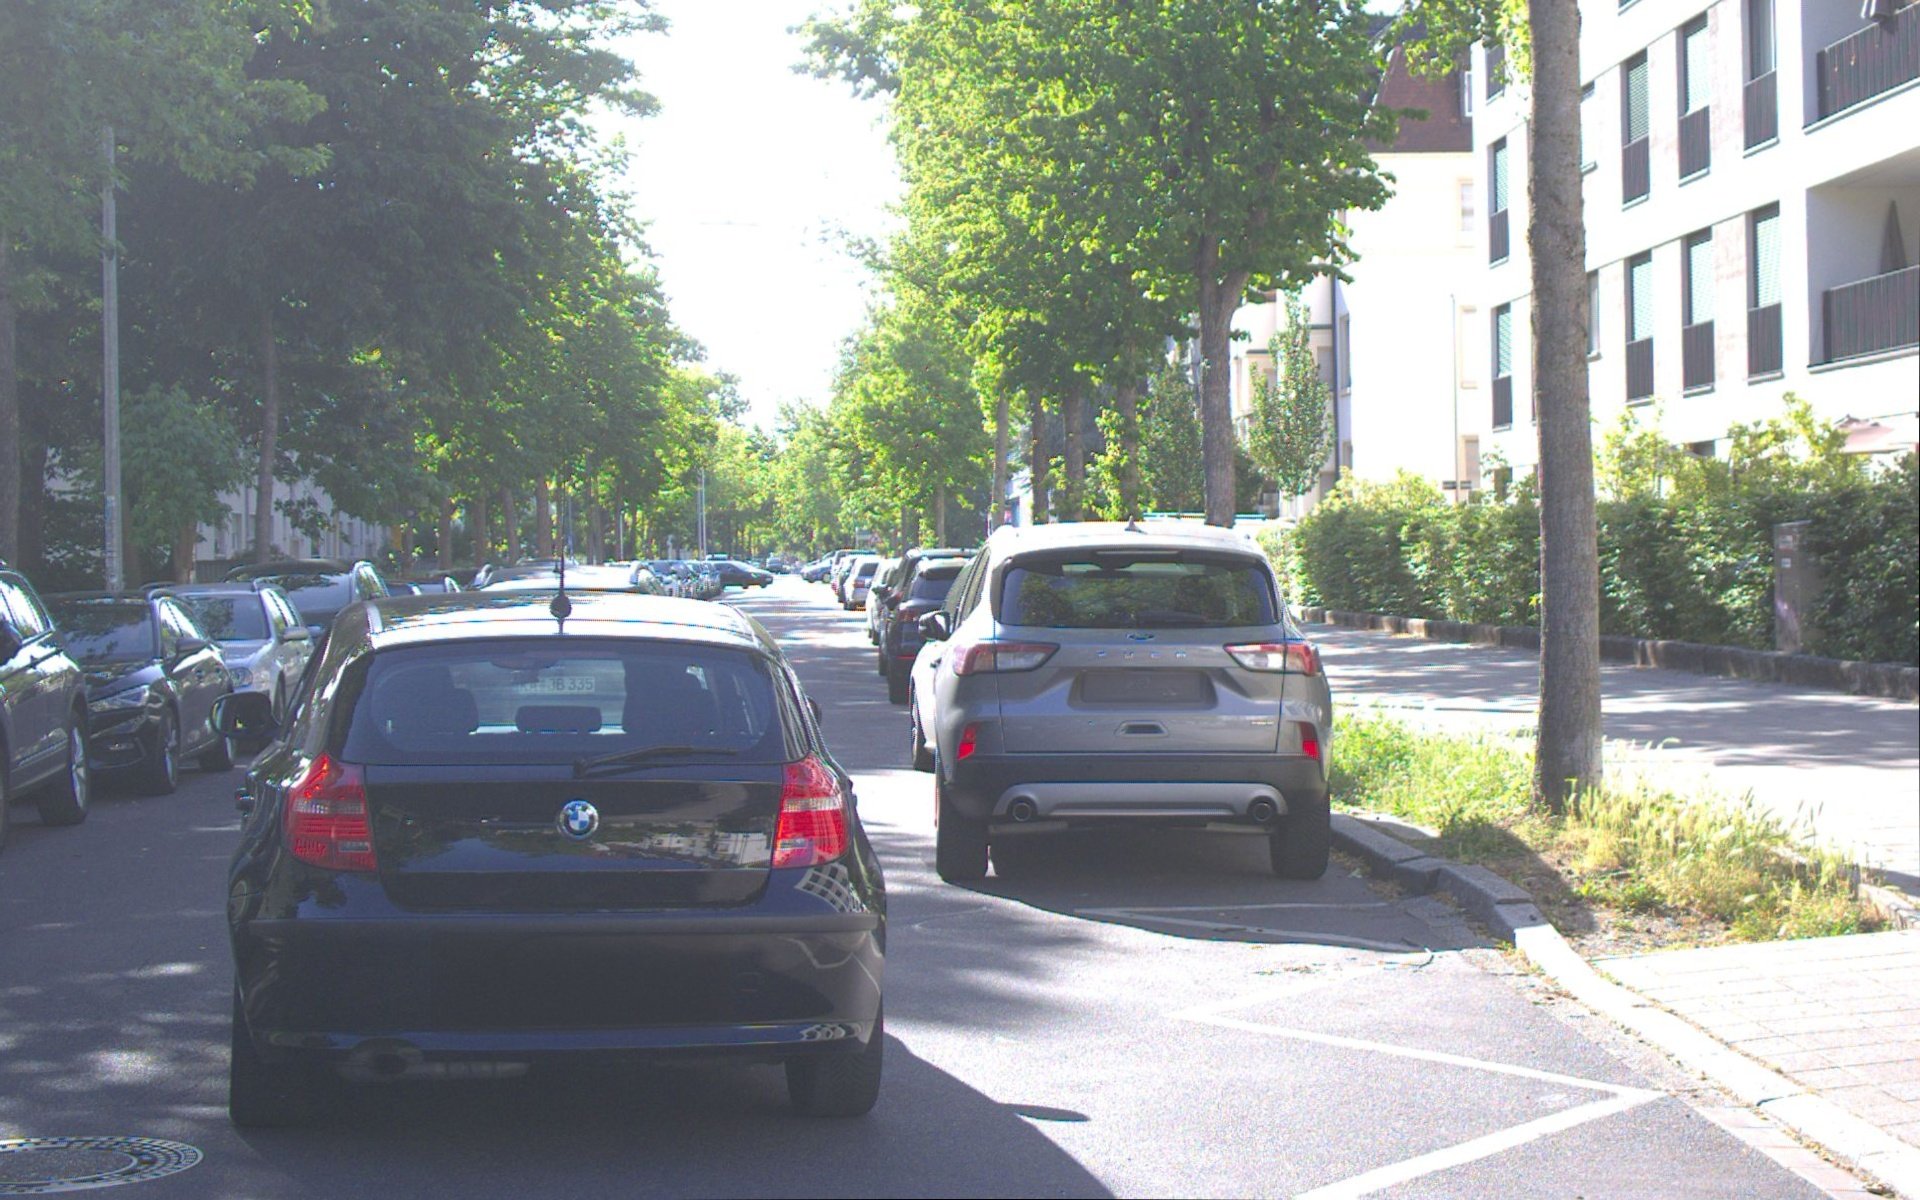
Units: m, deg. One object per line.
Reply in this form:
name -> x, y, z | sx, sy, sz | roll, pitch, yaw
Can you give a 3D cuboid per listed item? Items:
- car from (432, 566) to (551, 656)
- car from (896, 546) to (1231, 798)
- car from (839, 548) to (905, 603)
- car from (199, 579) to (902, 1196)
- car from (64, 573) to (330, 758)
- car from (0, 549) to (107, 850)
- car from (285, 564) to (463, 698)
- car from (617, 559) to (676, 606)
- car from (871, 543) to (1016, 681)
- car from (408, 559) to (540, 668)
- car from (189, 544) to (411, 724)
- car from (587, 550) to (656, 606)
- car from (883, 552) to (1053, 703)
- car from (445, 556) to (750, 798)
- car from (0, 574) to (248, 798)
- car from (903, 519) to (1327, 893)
car -> -7.811, 0.161, 57.520 | 1.612, 1.387, 3.866 | -2, 1, -3
car -> 0.597, 0.413, 22.937 | 1.693, 1.518, 4.001 | 0, 1, -6
car -> -2.498, -0.724, 98.522 | 1.721, 1.475, 3.851 | -2, 1, 1
car -> -1.293, 0.671, 9.985 | 1.649, 1.392, 3.412 | -2, 1, -11
car -> -6.574, 0.522, 29.949 | 1.612, 1.422, 3.726 | -2, 1, -3
car -> -6.054, 0.547, 19.556 | 1.612, 1.606, 4.230 | -2, 1, -5
car -> -6.951, 0.334, 41.086 | 1.612, 1.447, 3.866 | -2, 1, -3
car -> -9.643, -0.553, 105.903 | 1.612, 1.387, 3.866 | -2, 1, -3
car -> -0.240, 0.117, 43.365 | 1.721, 1.635, 3.851 | 1, 1, -1
car -> -7.401, 0.181, 52.601 | 1.612, 1.538, 3.866 | -2, 1, -3
car -> -6.724, 0.299, 35.386 | 1.612, 1.673, 4.235 | -2, 1, -3
car -> -9.015, -0.608, 91.659 | 1.612, 1.387, 3.866 | -2, 1, -3
car -> 0.038, 0.255, 37.363 | 1.721, 1.523, 4.000 | 1, 1, -1
car -> -2.349, 0.445, 23.136 | 1.649, 1.421, 4.001 | -2, 1, -1
car -> -6.302, 0.571, 24.860 | 1.612, 1.422, 4.058 | -2, 1, -3
car -> 0.646, 0.452, 17.240 | 1.848, 1.625, 4.410 | 0, 0, -1
